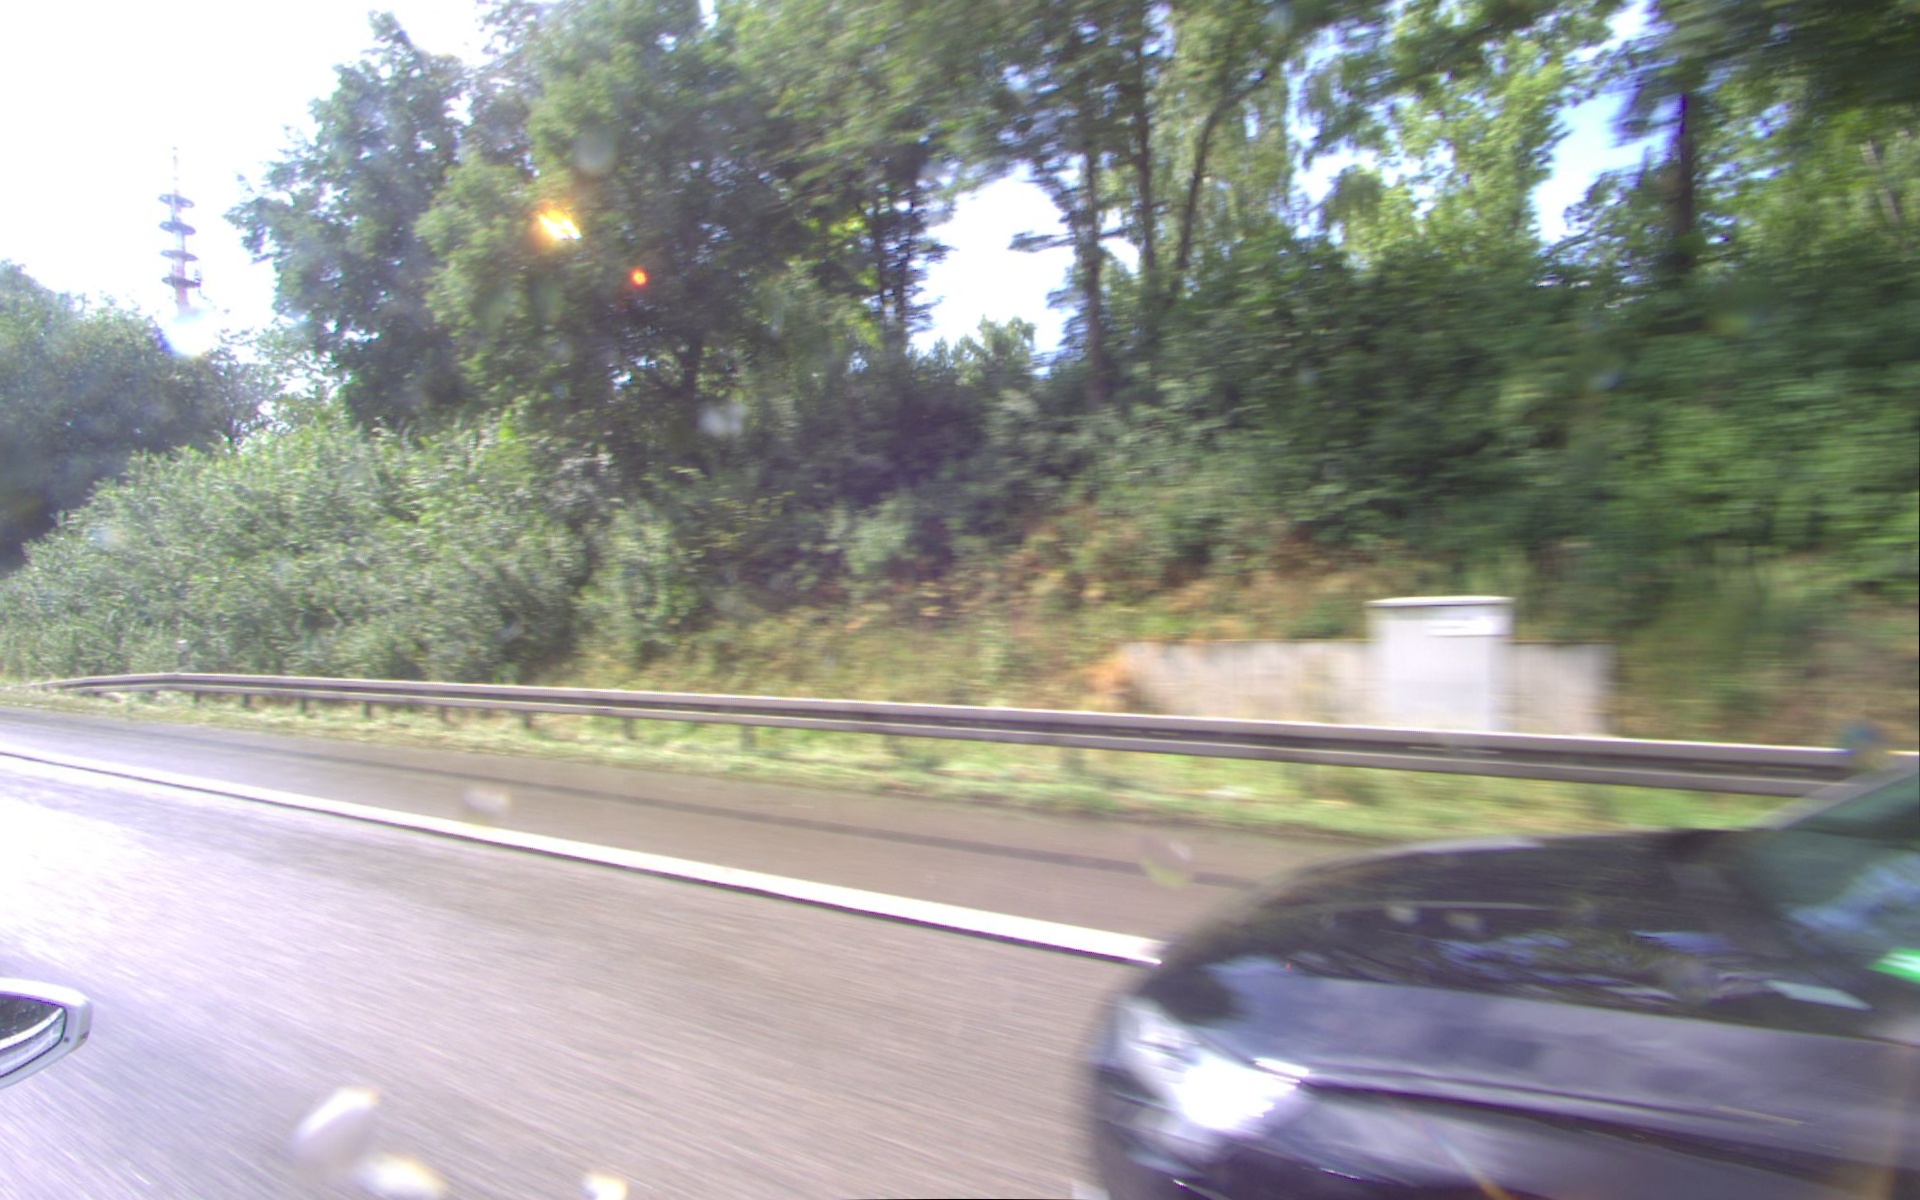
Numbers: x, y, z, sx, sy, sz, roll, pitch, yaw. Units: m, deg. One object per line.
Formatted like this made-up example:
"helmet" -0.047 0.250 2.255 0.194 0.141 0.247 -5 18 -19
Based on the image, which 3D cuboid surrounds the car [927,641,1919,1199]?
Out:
"car" 2.219 0.785 1.359 4.305 1.414 1.752 -1 -1 32
